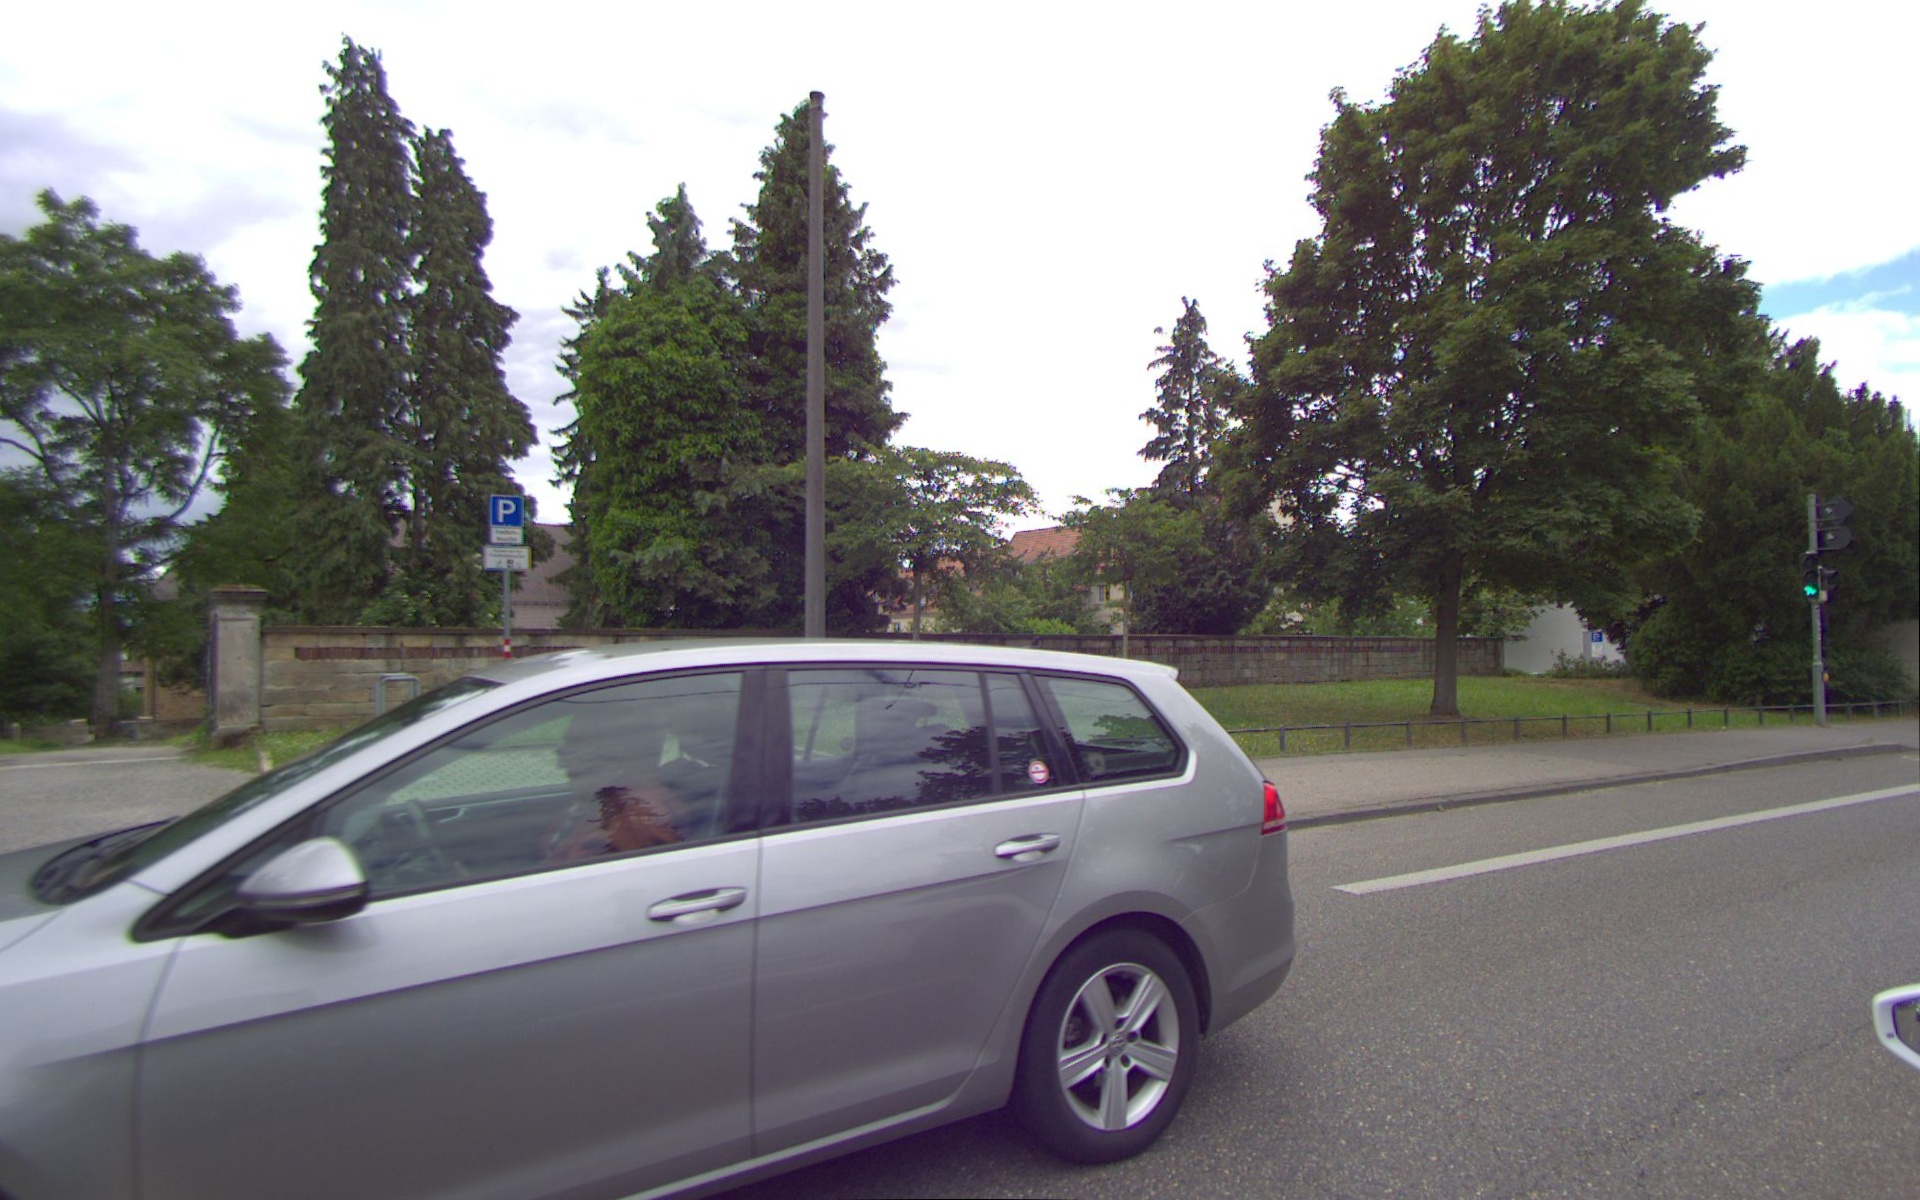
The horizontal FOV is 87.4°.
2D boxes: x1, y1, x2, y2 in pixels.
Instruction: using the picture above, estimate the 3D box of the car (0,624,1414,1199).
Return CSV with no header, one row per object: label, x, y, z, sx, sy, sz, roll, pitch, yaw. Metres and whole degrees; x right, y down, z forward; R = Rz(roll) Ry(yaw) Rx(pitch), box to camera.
car,-0.751,0.842,2.959,4.104,1.481,1.718,1,-3,-30
